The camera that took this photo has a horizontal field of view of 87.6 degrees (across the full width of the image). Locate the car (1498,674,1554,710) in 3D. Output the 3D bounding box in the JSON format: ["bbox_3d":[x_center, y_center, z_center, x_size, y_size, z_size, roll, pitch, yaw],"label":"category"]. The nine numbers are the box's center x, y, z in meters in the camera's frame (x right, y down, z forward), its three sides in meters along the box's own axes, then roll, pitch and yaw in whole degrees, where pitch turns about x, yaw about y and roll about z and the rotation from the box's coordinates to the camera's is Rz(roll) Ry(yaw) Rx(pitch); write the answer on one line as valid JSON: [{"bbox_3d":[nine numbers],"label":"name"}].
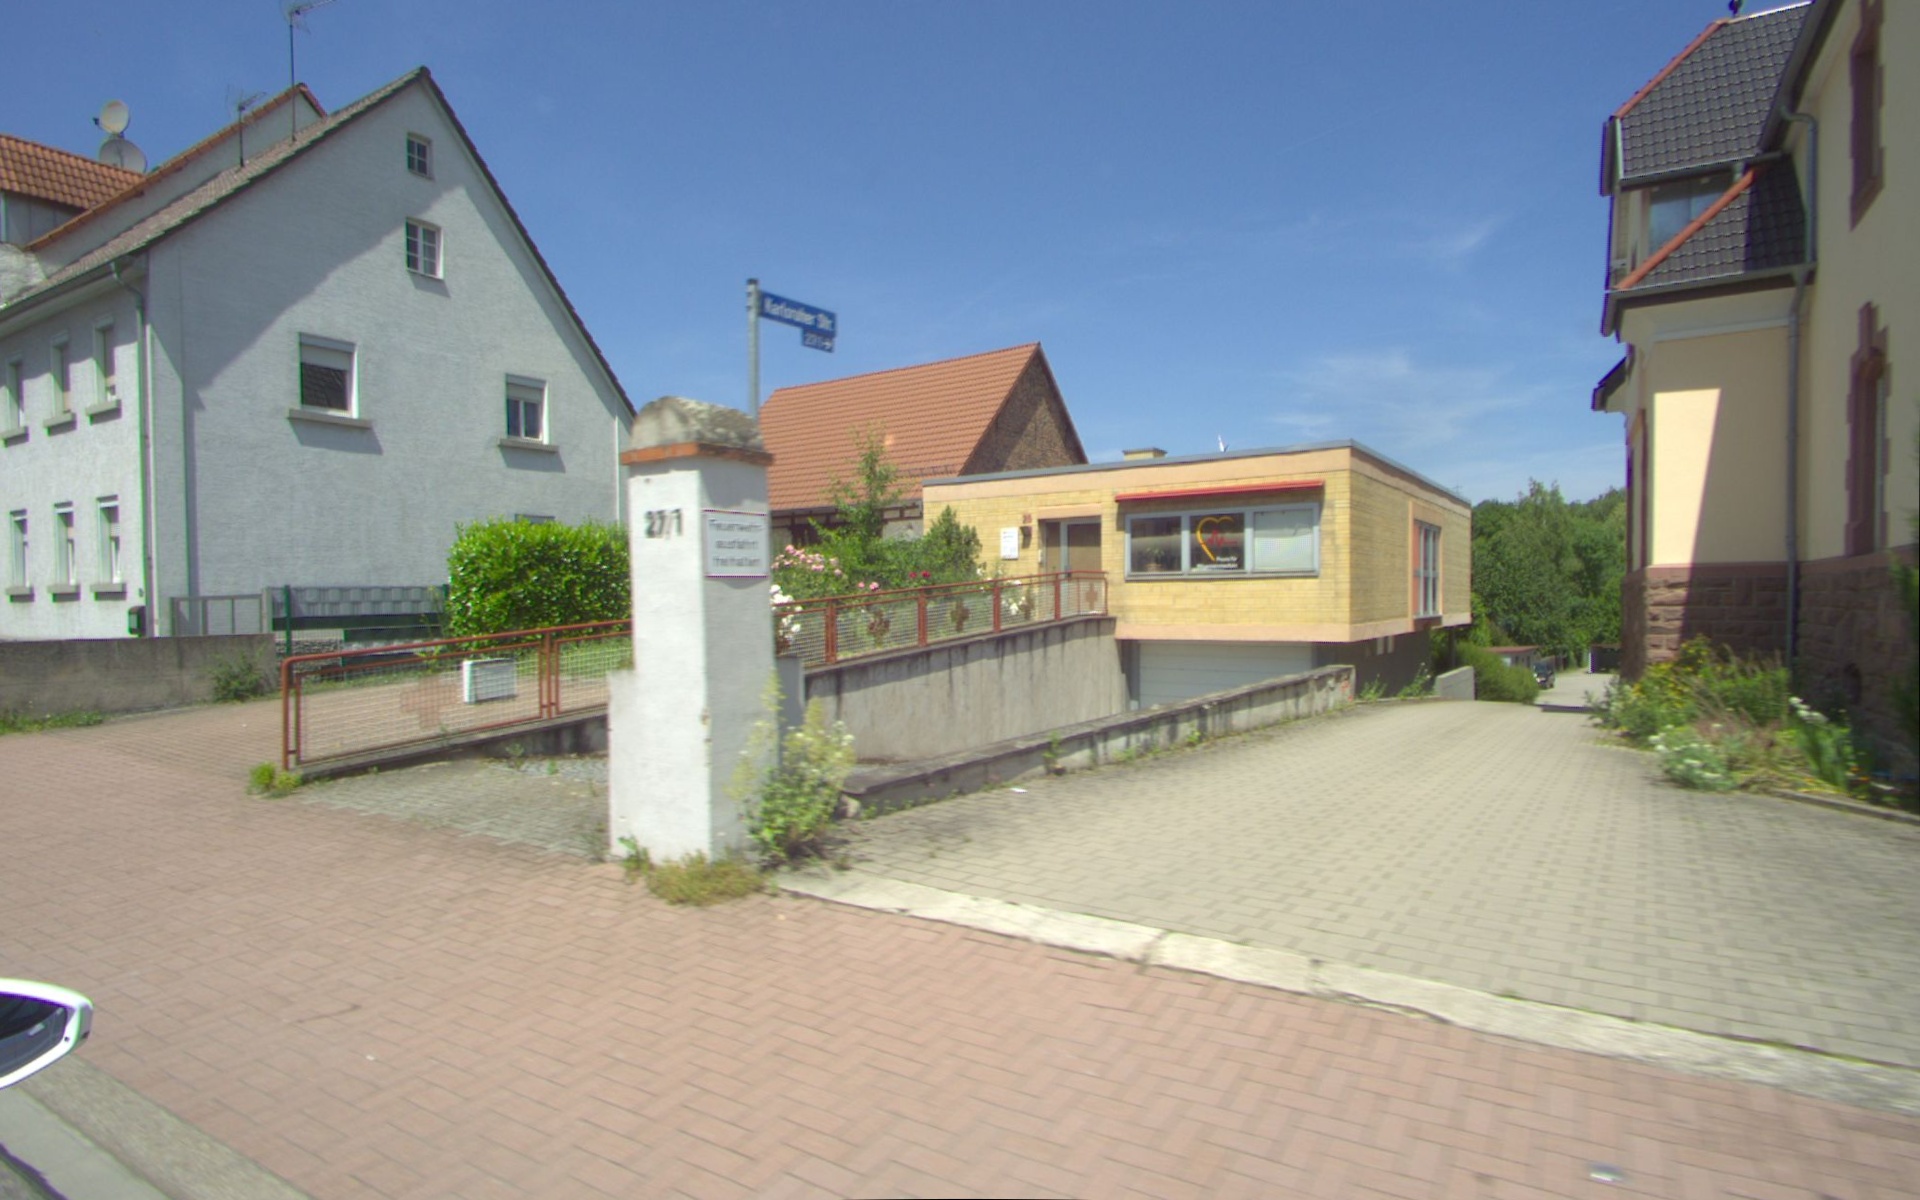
[{"bbox_3d":[24.428,3.935,43.185,1.662,1.389,3.437,0,-3,37],"label":"car"}]

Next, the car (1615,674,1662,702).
[{"bbox_3d":[38.767,4.993,57.181,1.887,1.459,3.902,-1,-3,39],"label":"car"}]
